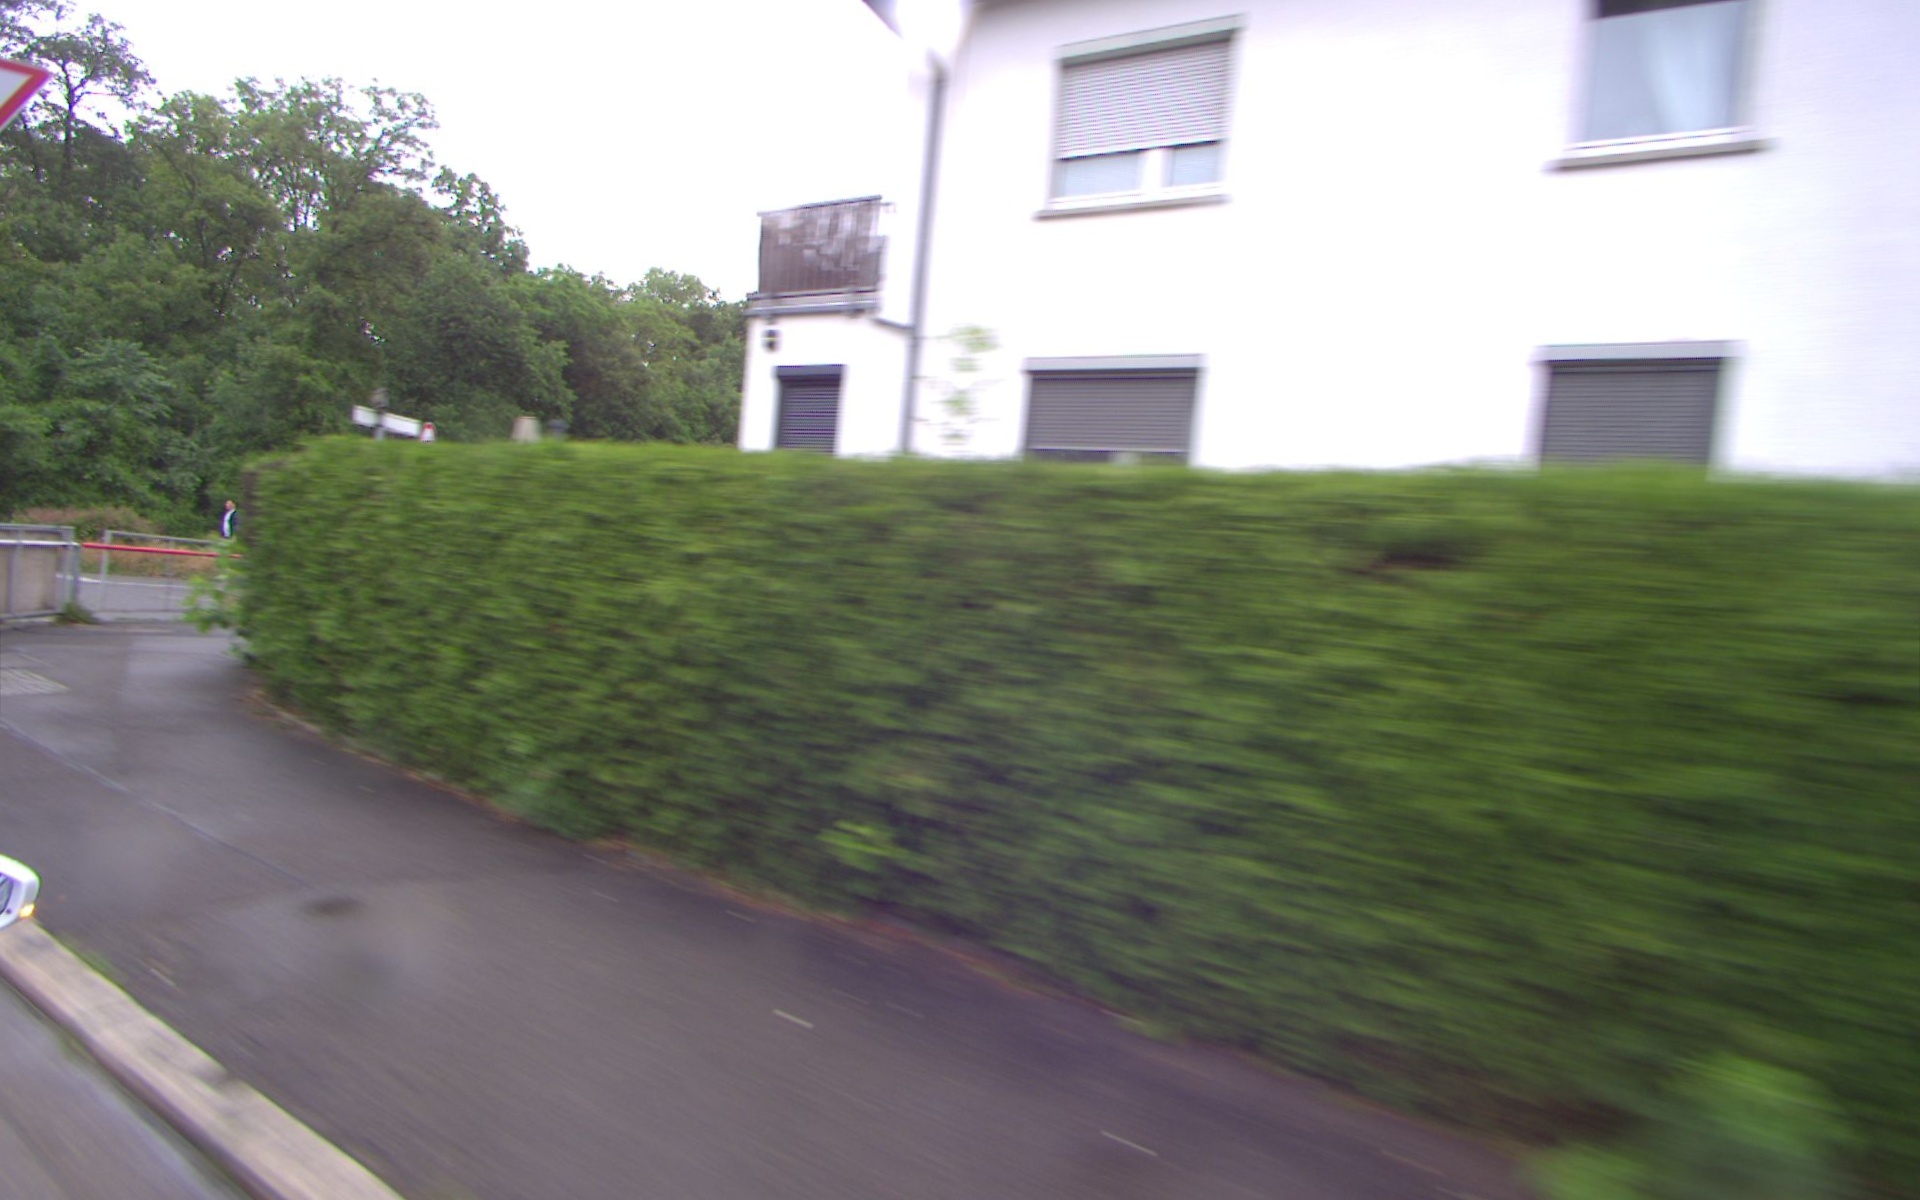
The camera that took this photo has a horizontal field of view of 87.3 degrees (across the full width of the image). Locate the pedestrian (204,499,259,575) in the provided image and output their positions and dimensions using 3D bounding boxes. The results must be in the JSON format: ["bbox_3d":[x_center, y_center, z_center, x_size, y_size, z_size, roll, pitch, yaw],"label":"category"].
[{"bbox_3d":[-18.733,-1.626,25.871,0.765,1.822,0.762,7,1,32],"label":"pedestrian"}]
